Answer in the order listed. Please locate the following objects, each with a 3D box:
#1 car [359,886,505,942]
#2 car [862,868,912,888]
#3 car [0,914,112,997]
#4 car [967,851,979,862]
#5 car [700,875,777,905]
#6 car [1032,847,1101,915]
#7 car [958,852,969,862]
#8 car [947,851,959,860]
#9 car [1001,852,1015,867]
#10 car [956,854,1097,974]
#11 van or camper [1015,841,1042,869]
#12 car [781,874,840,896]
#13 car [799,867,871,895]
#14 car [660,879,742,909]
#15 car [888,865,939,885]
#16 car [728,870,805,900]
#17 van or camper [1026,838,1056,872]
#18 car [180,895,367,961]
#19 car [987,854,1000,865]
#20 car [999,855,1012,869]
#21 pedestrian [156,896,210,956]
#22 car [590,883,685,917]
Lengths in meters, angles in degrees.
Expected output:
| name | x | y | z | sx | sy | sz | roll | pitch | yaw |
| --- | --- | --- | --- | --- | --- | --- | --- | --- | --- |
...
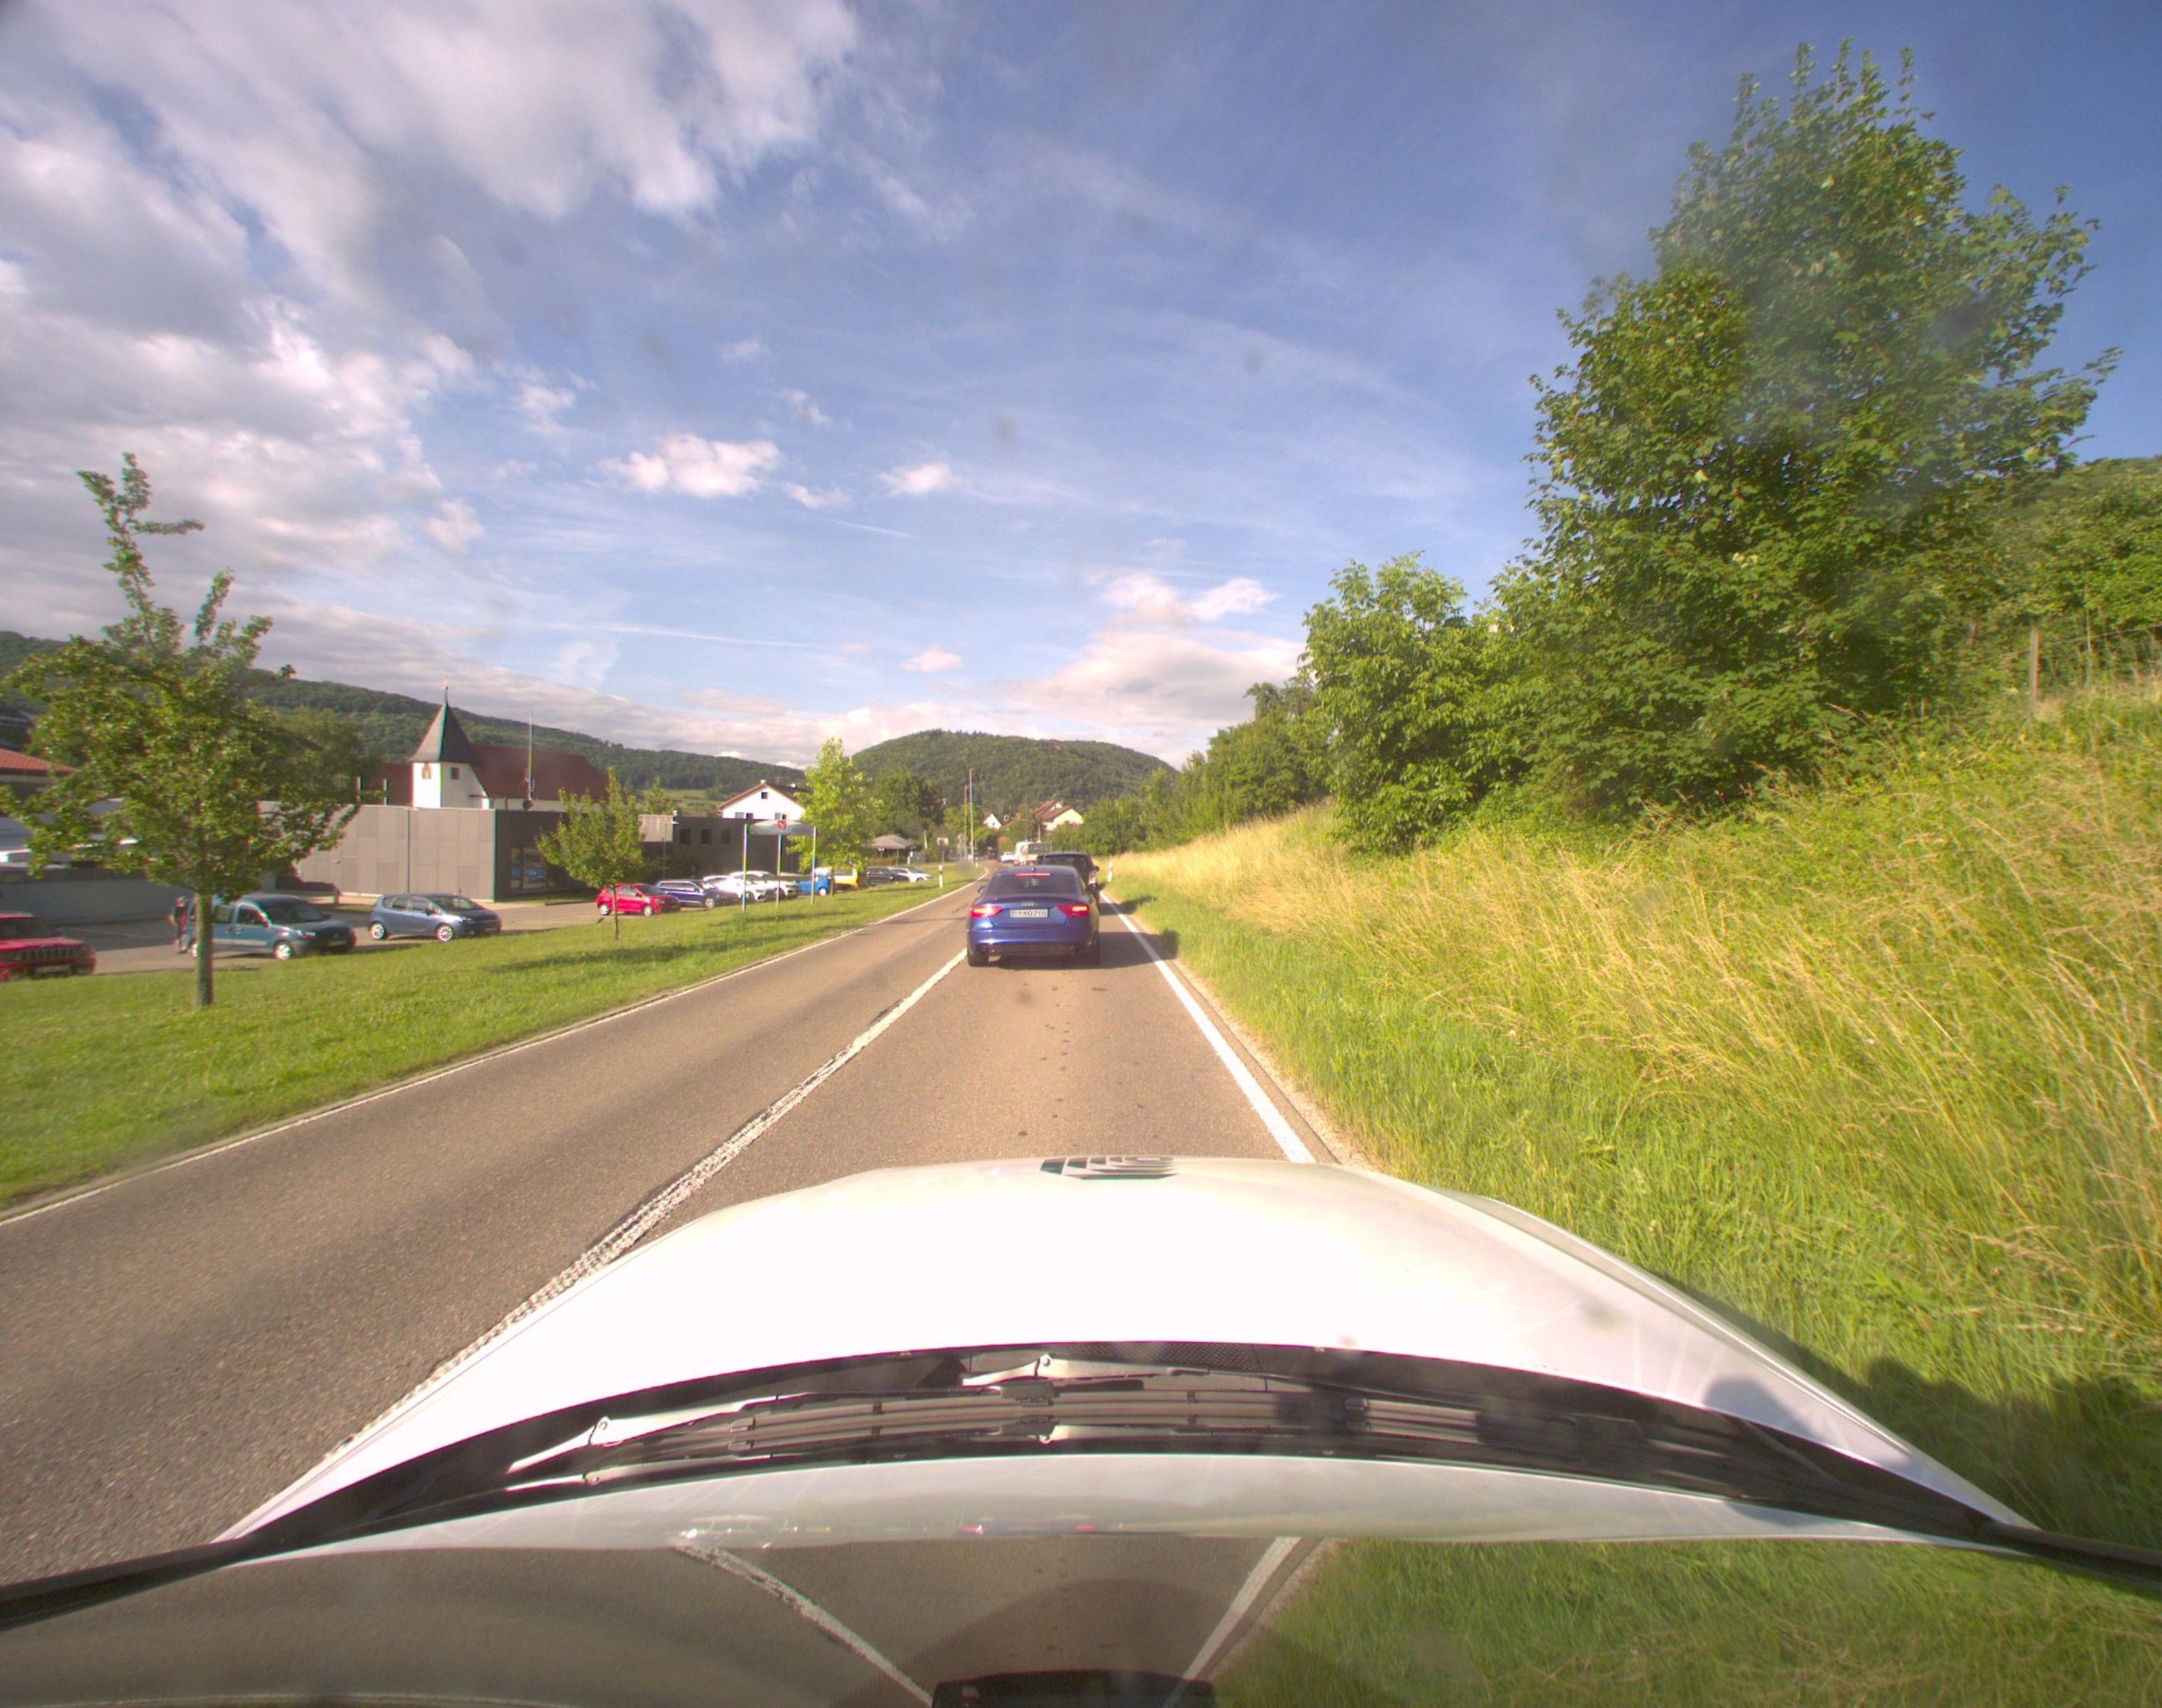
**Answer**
| name | x | y | z | sx | sy | sz | roll | pitch | yaw |
| --- | --- | --- | --- | --- | --- | --- | --- | --- | --- |
| car | -22.147 | 2.033 | 27.852 | 3.795 | 1.722 | 1.736 | -2 | -1 | 9 |
| car | -16.114 | 1.995 | 67.775 | 3.689 | 1.439 | 1.513 | -2 | -1 | 10 |
| car | -24.007 | 2.198 | 17.837 | 3.896 | 1.579 | 1.760 | -2 | -1 | 9 |
| car | -20.973 | 0.489 | 157.881 | 1.681 | 1.924 | 3.977 | -2 | -1 | -17 |
| car | -19.345 | 2.025 | 46.080 | 3.643 | 1.493 | 1.601 | -2 | 0 | 10 |
| car | -0.410 | 0.647 | 21.311 | 1.641 | 1.625 | 3.514 | 0 | 0 | -2 |
| car | -24.389 | 0.599 | 168.724 | 1.681 | 1.924 | 3.976 | -2 | -1 | -18 |
| car | -28.782 | 0.325 | 183.449 | 1.961 | 1.924 | 3.975 | -2 | -1 | -19 |
| car | -9.865 | 0.797 | 109.612 | 1.658 | 1.924 | 3.989 | -2 | 0 | -7 |
| car | -0.672 | 0.769 | 12.064 | 1.737 | 1.450 | 3.516 | -2 | 0 | 0 |
| van or camper | -5.449 | 0.166 | 83.458 | 2.279 | 2.714 | 5.751 | -2 | 0 | -8 |
| car | -18.349 | 2.100 | 55.391 | 3.356 | 1.373 | 1.661 | -2 | -1 | 2 |
| car | -17.465 | 1.913 | 57.894 | 4.525 | 1.815 | 1.846 | -2 | -1 | 10 |
| car | -19.995 | 2.112 | 42.906 | 3.602 | 1.405 | 1.601 | -2 | 1 | 10 |
| car | -14.863 | 1.870 | 72.290 | 4.011 | 1.660 | 1.660 | -2 | -1 | 10 |
| car | -19.097 | 1.872 | 49.497 | 4.052 | 1.673 | 1.601 | -2 | -1 | 10 |
| van or camper | -3.202 | 0.087 | 63.814 | 2.049 | 2.505 | 5.800 | -2 | 0 | -5 |
| car | -23.073 | 2.094 | 23.347 | 3.841 | 1.722 | 1.759 | -1 | 0 | 7 |
| car | -15.040 | 0.953 | 139.783 | 1.679 | 1.924 | 3.981 | -2 | 0 | -14 |
| car | -10.863 | 1.145 | 117.078 | 1.659 | 1.924 | 3.988 | -2 | 0 | -8 |
| pedestrian | -26.398 | 2.103 | 23.961 | 0.790 | 1.693 | 0.706 | 0 | -1 | 5 |
| car | -20.640 | 2.115 | 37.935 | 3.602 | 1.444 | 1.653 | 0 | 1 | 10 |
